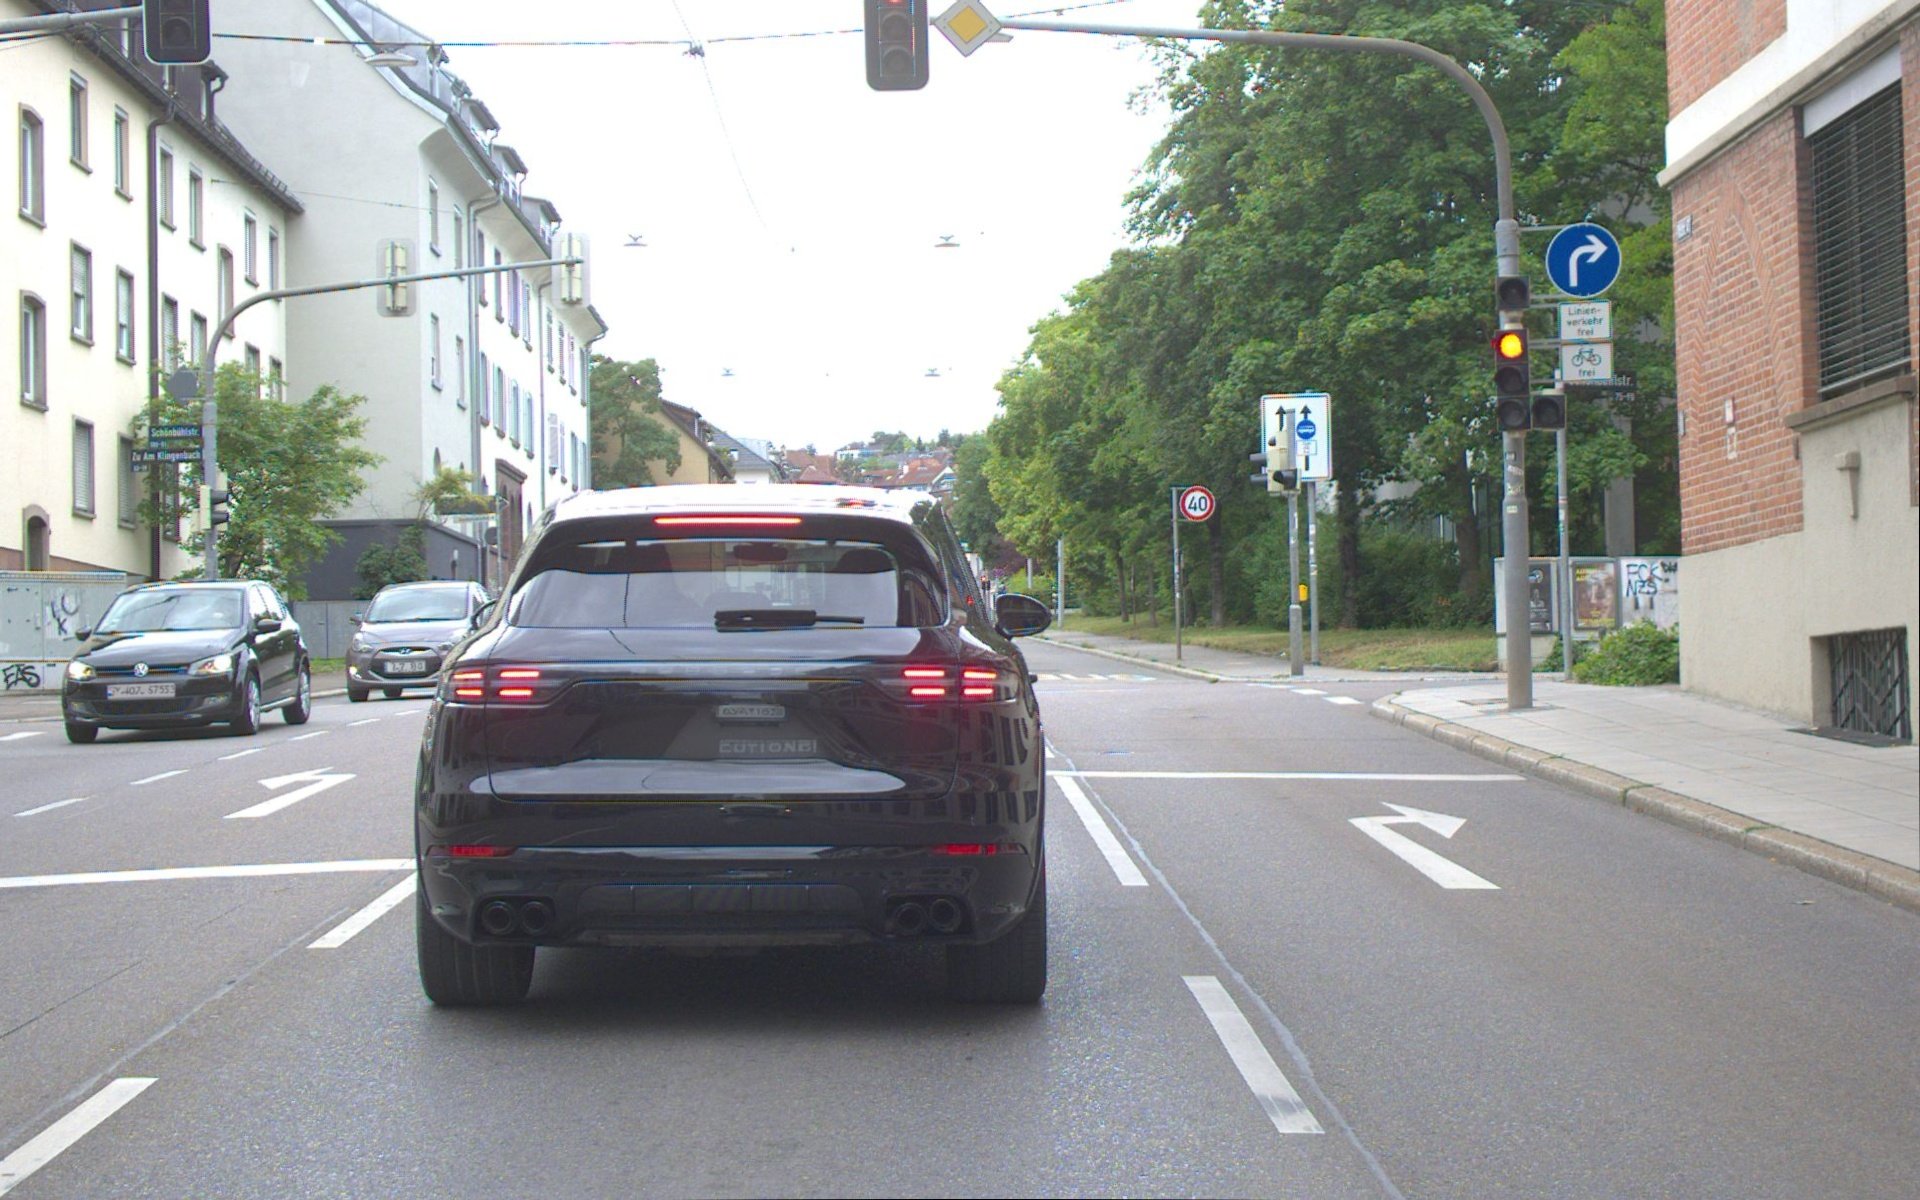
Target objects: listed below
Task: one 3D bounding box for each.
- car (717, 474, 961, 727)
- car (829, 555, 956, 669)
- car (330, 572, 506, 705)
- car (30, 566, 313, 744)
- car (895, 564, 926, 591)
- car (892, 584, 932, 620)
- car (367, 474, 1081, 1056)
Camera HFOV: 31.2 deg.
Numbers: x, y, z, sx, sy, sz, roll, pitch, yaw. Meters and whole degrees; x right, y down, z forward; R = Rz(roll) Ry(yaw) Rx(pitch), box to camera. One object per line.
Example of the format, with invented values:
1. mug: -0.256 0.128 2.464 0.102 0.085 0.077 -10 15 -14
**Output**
1. car: -0.999 -0.041 30.066 1.965 2.035 4.135 1 1 0
2. car: -0.997 0.148 51.993 1.827 1.599 4.135 1 1 0
3. car: -7.291 0.485 46.574 1.703 1.581 3.937 -3 1 0
4. car: -7.180 0.460 31.651 1.673 1.395 3.795 -3 1 0
5. car: -3.049 -1.400 211.119 1.827 1.599 4.135 1 1 0
6. car: -2.271 0.088 162.852 1.827 1.599 4.135 1 1 0
7. car: -0.694 0.433 12.067 2.048 1.660 4.267 1 1 0
